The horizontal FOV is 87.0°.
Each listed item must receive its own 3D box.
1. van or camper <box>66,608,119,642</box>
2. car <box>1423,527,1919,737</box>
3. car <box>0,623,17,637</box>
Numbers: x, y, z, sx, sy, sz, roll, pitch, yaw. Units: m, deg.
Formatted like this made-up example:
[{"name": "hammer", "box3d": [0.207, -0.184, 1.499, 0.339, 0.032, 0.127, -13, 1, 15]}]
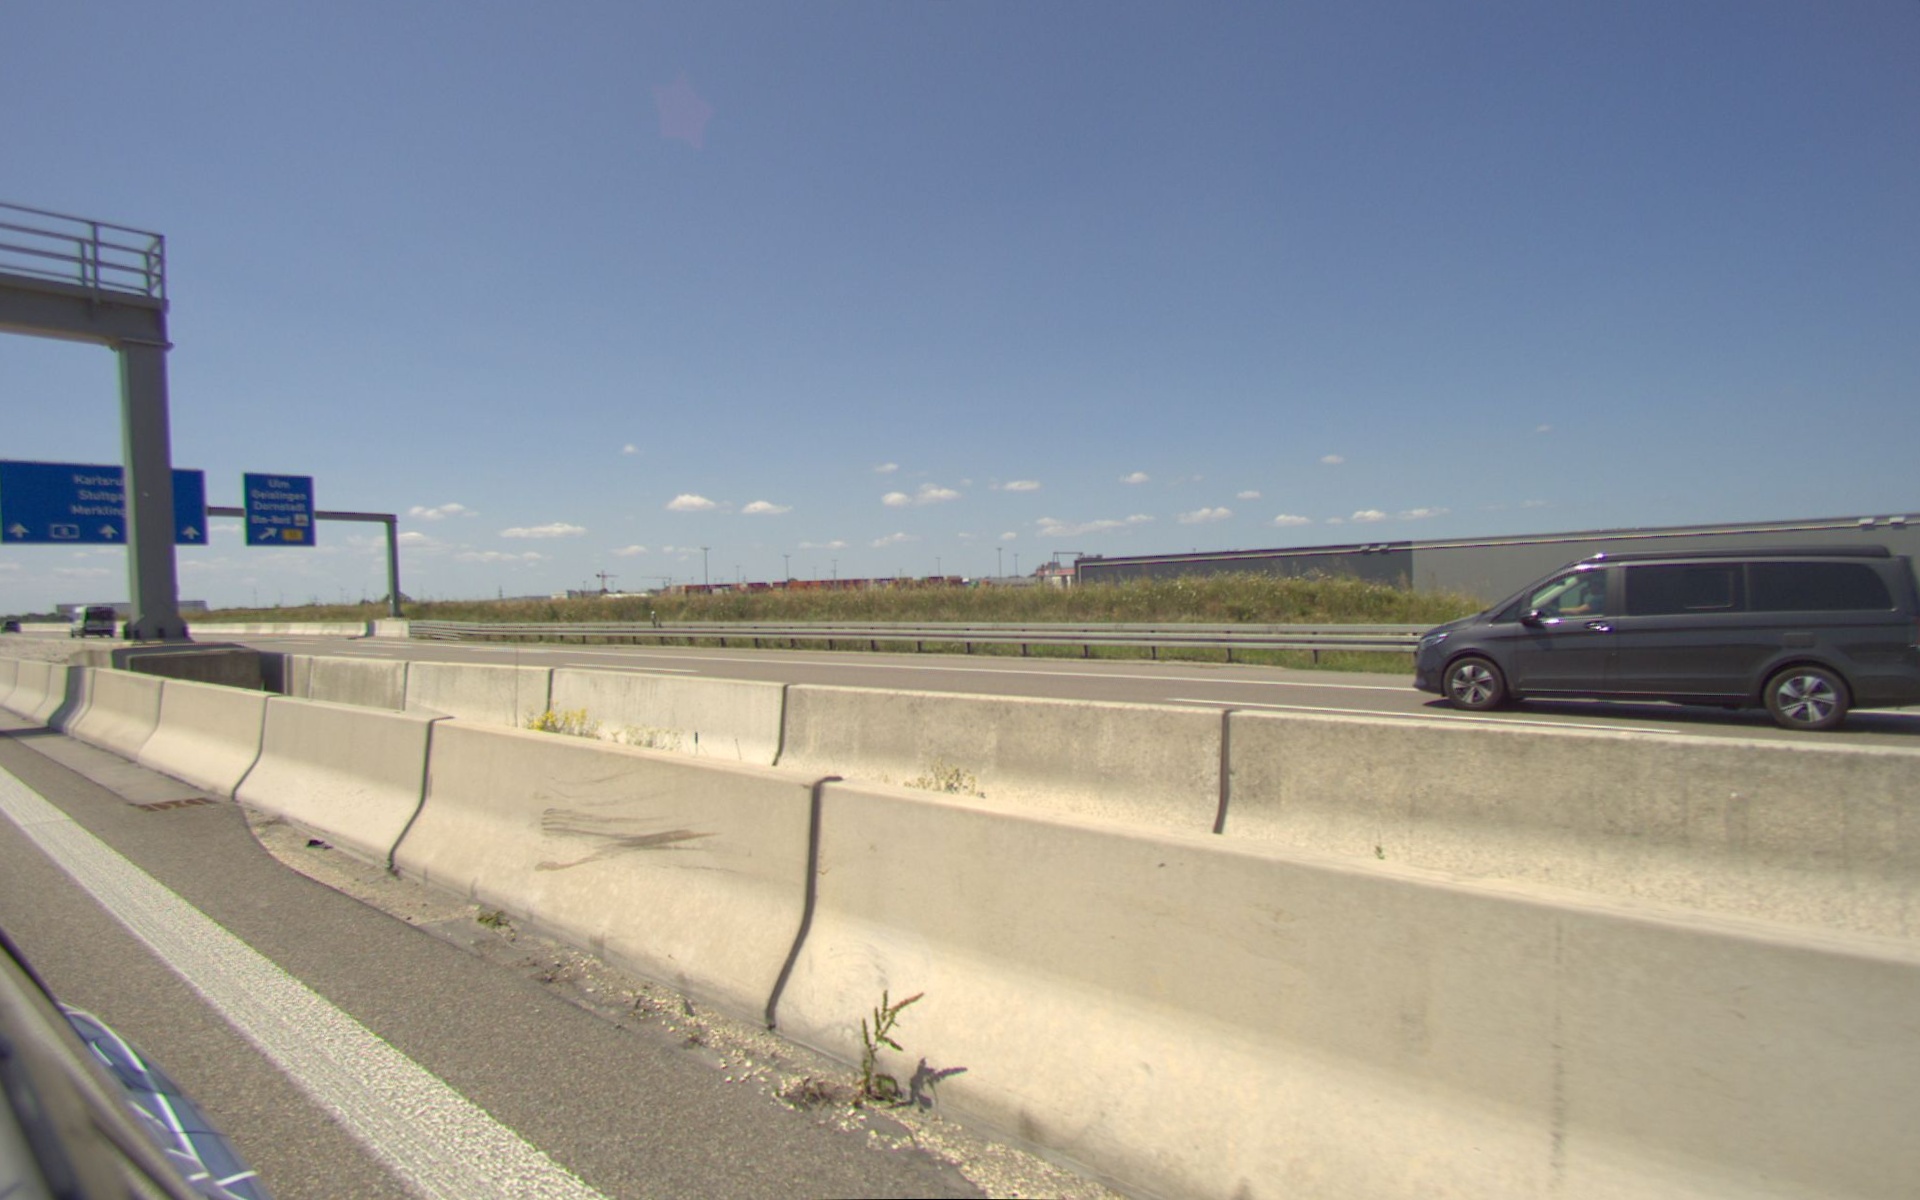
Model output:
[{"name": "van or camper", "box3d": [-68.981, 1.951, 80.429, 6.311, 2.577, 2.296, -1, -1, 40]}, {"name": "car", "box3d": [8.584, 0.334, 11.821, 5.379, 2.029, 2.125, -1, -1, 42]}, {"name": "car", "box3d": [-128.346, 4.045, 135.977, 4.917, 1.837, 1.827, -2, -1, 40]}]
